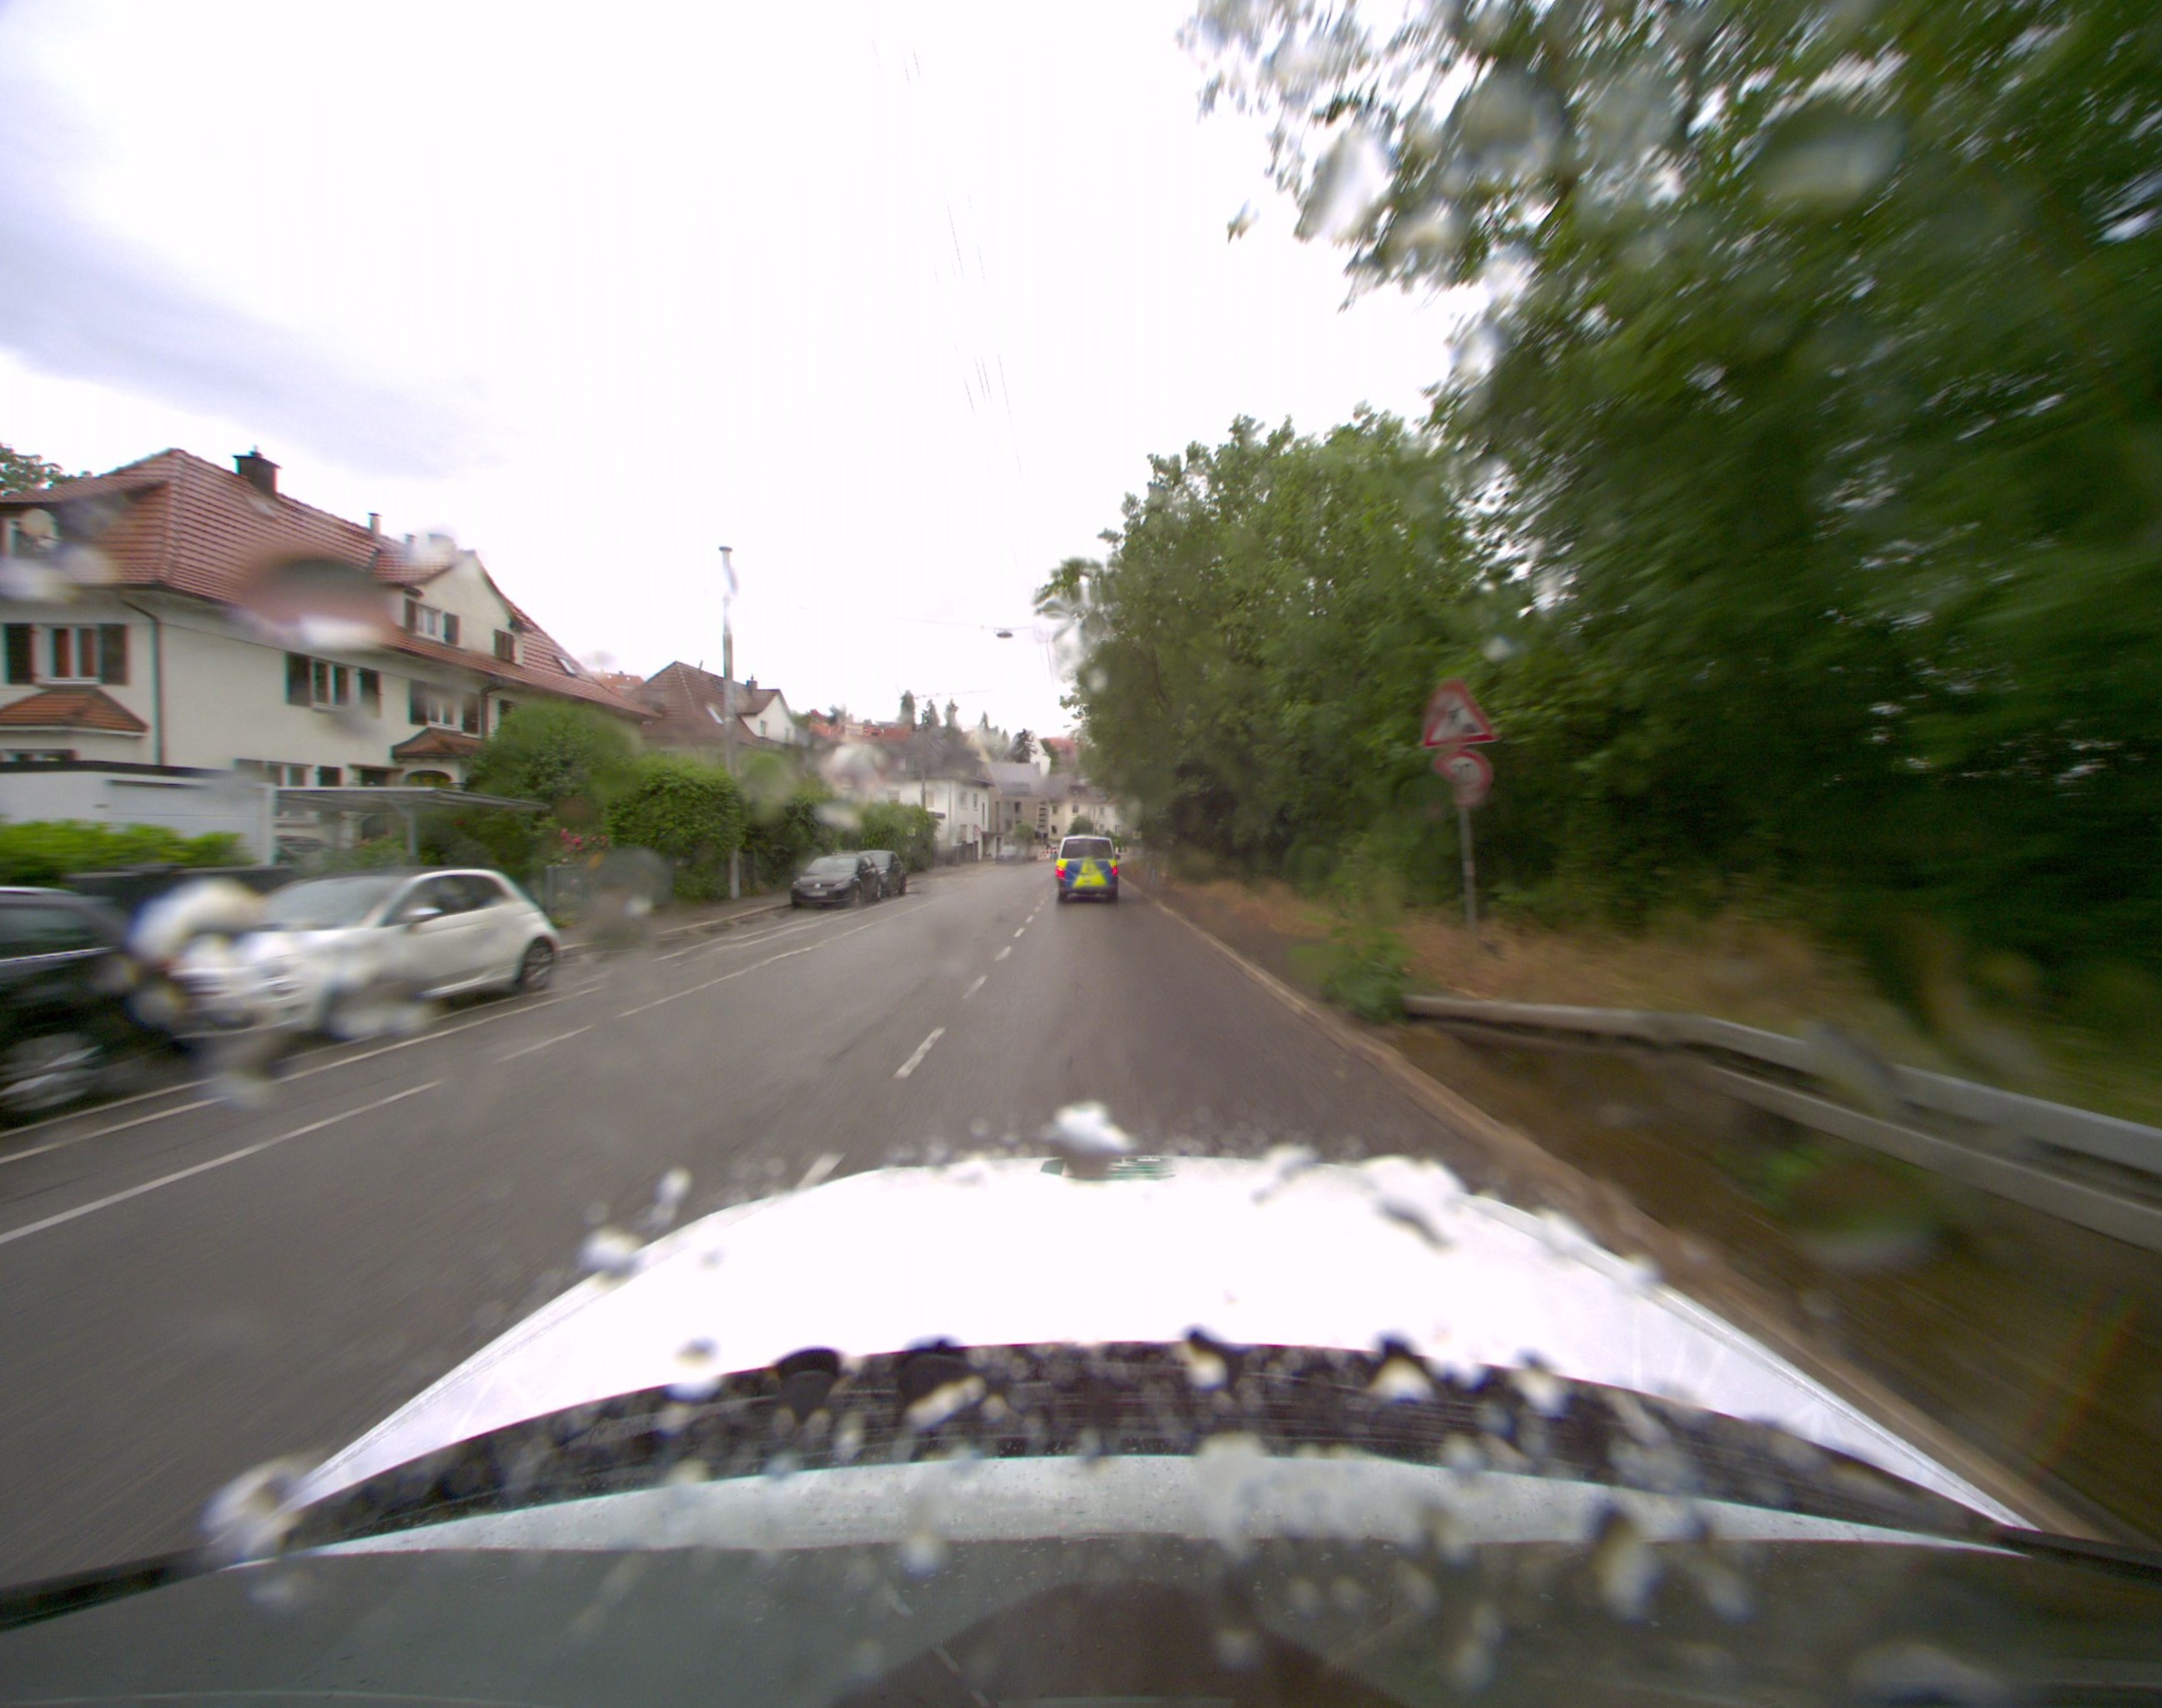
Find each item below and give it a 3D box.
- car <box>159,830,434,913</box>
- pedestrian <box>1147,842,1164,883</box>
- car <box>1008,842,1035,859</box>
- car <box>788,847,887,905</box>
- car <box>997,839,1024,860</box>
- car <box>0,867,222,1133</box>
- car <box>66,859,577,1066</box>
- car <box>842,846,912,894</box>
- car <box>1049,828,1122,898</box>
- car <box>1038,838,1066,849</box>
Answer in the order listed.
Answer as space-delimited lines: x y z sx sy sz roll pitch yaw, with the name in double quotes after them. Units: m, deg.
-16.252 0.353 17.018 3.975 1.448 1.661 3 0 -1 "car"
2.977 0.342 32.626 0.640 1.611 0.669 0 0 -1 "pedestrian"
-5.487 -0.382 75.038 1.607 1.440 4.240 1 2 8 "car"
-6.899 0.558 23.531 1.683 1.418 4.212 -1 1 -2 "car"
-5.987 -0.391 69.841 1.747 1.658 4.408 -1 1 2 "car"
-7.194 0.913 3.785 1.693 1.524 4.421 -2 1 -1 "car"
-7.207 0.875 8.360 1.693 1.468 3.709 -4 1 -1 "car"
-6.881 0.493 27.714 1.514 1.454 3.030 -1 1 1 "car"
0.239 0.277 25.506 1.985 2.014 4.406 0 -1 4 "car"
-3.925 -1.420 110.938 1.848 1.443 3.956 0 2 -38 "car"
